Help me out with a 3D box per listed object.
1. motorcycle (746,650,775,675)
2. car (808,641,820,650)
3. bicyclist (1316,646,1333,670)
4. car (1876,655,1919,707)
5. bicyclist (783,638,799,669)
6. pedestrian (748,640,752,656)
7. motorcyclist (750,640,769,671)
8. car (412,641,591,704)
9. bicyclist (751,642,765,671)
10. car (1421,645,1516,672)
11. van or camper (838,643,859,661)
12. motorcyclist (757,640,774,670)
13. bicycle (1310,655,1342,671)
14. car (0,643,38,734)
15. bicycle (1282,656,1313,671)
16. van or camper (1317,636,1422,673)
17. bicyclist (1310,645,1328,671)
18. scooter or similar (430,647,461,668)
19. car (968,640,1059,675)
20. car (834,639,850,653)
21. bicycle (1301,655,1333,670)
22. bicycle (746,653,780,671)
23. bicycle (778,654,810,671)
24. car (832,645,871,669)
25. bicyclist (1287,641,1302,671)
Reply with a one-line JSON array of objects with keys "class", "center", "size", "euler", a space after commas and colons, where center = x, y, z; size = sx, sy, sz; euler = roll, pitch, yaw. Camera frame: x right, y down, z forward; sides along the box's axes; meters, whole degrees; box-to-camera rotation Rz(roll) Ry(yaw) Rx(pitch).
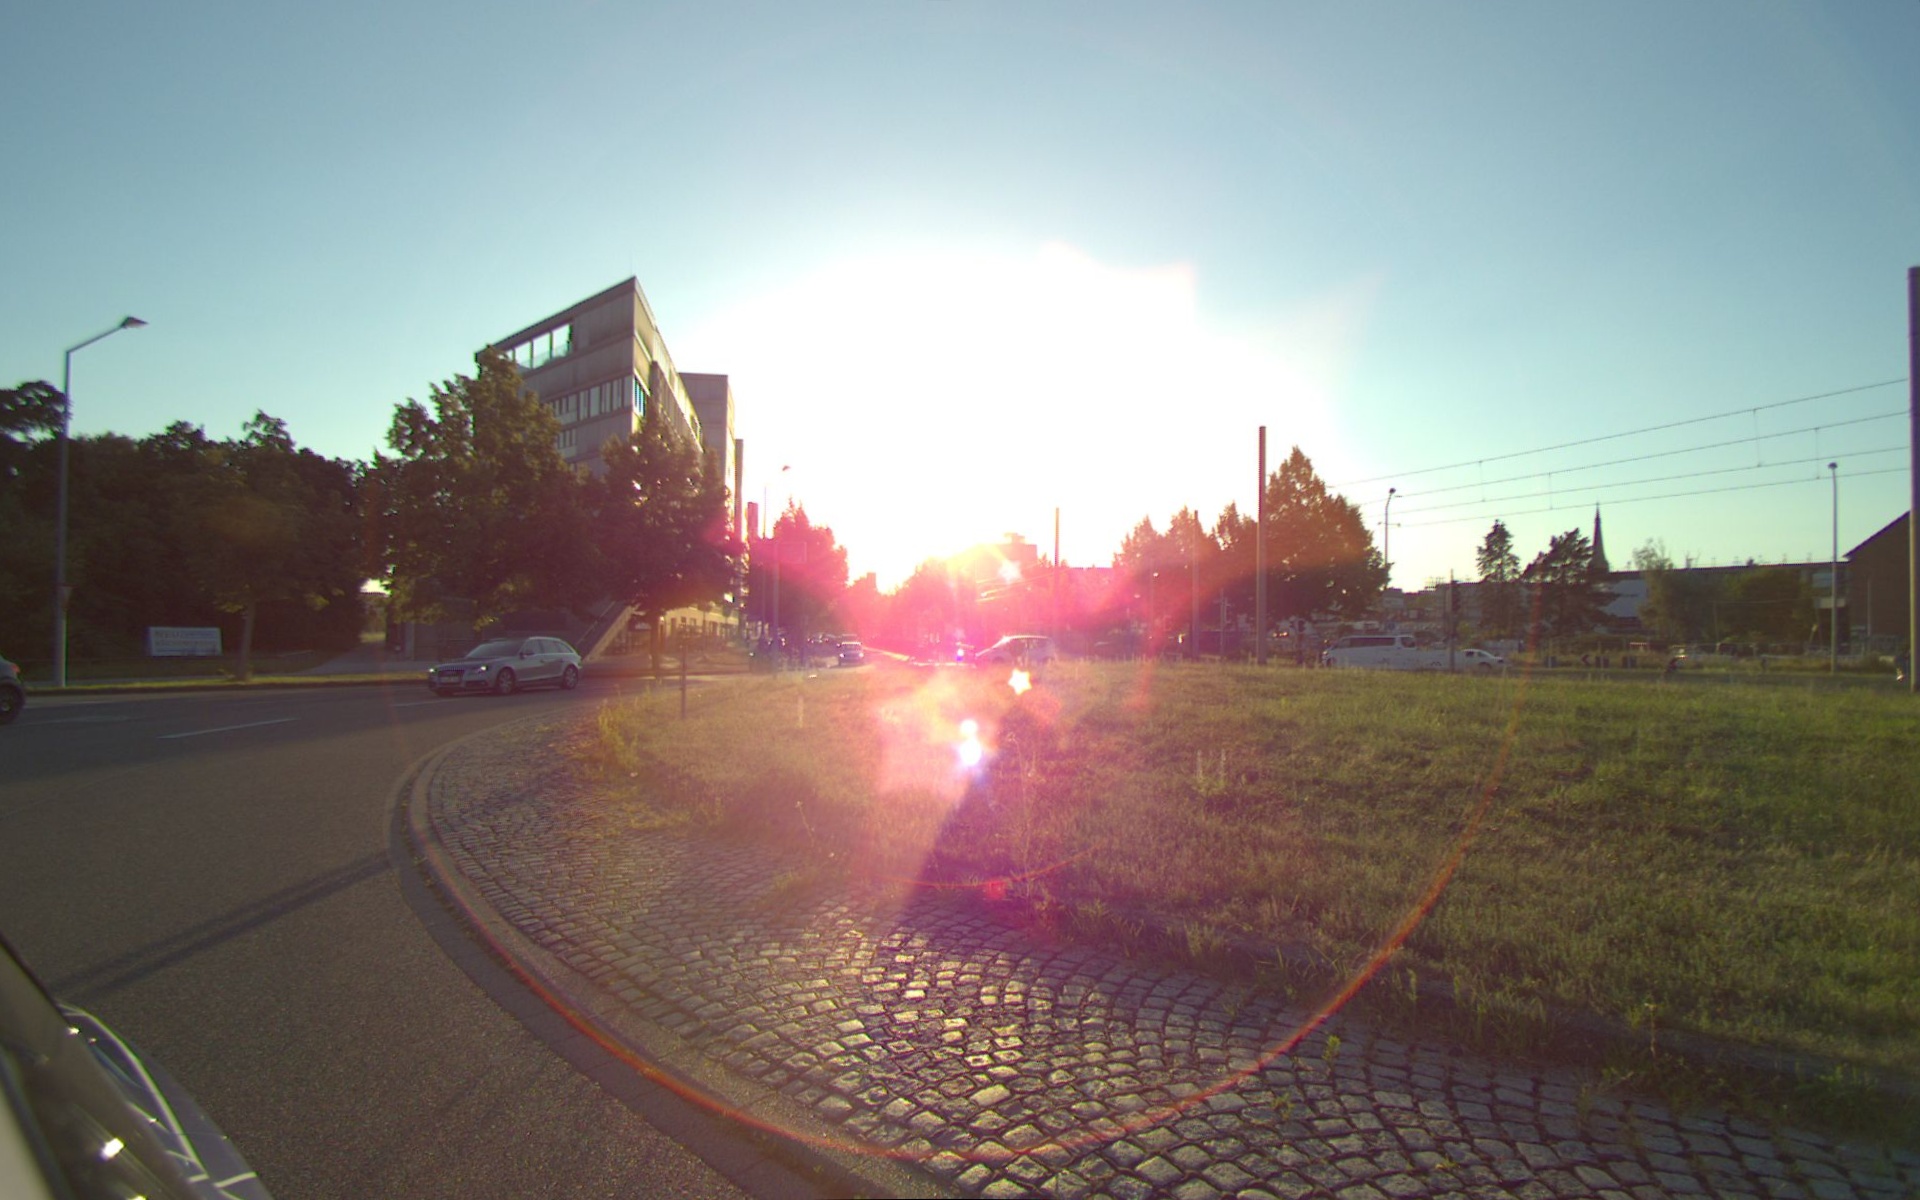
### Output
[{"class": "motorcycle", "center": [-9.255, 2.905, 47.055], "size": [0.552, 1.109, 2.151], "euler": [0, -2, 12]}, {"class": "car", "center": [-22.878, 7.159, 158.517], "size": [1.774, 1.475, 4.008], "euler": [1, -3, -10]}, {"class": "bicyclist", "center": [23.054, 3.686, 63.995], "size": [0.802, 1.517, 0.593], "euler": [0, -3, -6]}, {"class": "car", "center": [33.825, 2.723, 33.774], "size": [1.724, 1.761, 4.603], "euler": [2, -4, -41]}, {"class": "bicyclist", "center": [-9.907, 3.133, 59.402], "size": [0.837, 1.769, 0.804], "euler": [0, -3, -3]}, {"class": "pedestrian", "center": [-26.819, 6.172, 129.250], "size": [0.530, 2.029, 0.528], "euler": [0, -3, -10]}, {"class": "motorcyclist", "center": [-9.294, 2.552, 46.976], "size": [0.629, 1.427, 0.712], "euler": [0, -2, 11]}, {"class": "car", "center": [-11.330, 1.752, 25.394], "size": [1.785, 1.434, 4.430], "euler": [-1, -3, 13]}, {"class": "bicyclist", "center": [-11.486, 3.198, 57.579], "size": [0.672, 1.661, 0.686], "euler": [1, -3, -19]}, {"class": "car", "center": [24.750, 2.840, 49.320], "size": [1.555, 1.265, 3.786], "euler": [1, -3, -41]}, {"class": "van or camper", "center": [-12.893, 5.915, 116.519], "size": [1.967, 1.972, 5.340], "euler": [1, -2, -10]}, {"class": "motorcyclist", "center": [-9.155, 2.589, 47.615], "size": [0.629, 1.419, 0.592], "euler": [0, -2, 11]}, {"class": "bicycle", "center": [23.139, 3.982, 63.989], "size": [1.815, 0.988, 0.538], "euler": [0, -3, -6]}, {"class": "car", "center": [-16.504, 1.368, 15.099], "size": [1.778, 1.475, 3.998], "euler": [0, -3, 1]}, {"class": "bicycle", "center": [22.189, 4.167, 66.514], "size": [1.815, 0.988, 0.550], "euler": [0, -3, -6]}, {"class": "van or camper", "center": [23.072, 3.093, 57.256], "size": [1.883, 2.025, 5.315], "euler": [2, -4, -35]}, {"class": "bicyclist", "center": [23.033, 3.696, 64.913], "size": [0.802, 1.653, 0.816], "euler": [0, -3, -6]}, {"class": "scooter or similar", "center": [-29.662, 3.318, 58.348], "size": [1.555, 1.229, 0.366], "euler": [0, -3, 1]}, {"class": "car", "center": [2.346, 2.538, 44.682], "size": [3.647, 1.477, 1.611], "euler": [1, -3, -19]}, {"class": "car", "center": [-16.153, 6.326, 138.035], "size": [1.691, 1.852, 4.010], "euler": [0, -2, -13]}, {"class": "bicycle", "center": [22.908, 4.002, 64.970], "size": [1.815, 0.988, 0.550], "euler": [0, -3, -6]}, {"class": "bicycle", "center": [-11.174, 3.521, 57.464], "size": [1.831, 1.030, 0.309], "euler": [1, -3, -19]}, {"class": "bicycle", "center": [-9.767, 3.691, 59.686], "size": [1.836, 1.030, 0.438], "euler": [0, -3, -2]}, {"class": "car", "center": [-7.292, 3.835, 68.270], "size": [1.869, 1.492, 4.045], "euler": [0, -2, 5]}, {"class": "bicyclist", "center": [21.976, 3.682, 66.526], "size": [0.667, 1.933, 0.616], "euler": [0, -3, -6]}]
